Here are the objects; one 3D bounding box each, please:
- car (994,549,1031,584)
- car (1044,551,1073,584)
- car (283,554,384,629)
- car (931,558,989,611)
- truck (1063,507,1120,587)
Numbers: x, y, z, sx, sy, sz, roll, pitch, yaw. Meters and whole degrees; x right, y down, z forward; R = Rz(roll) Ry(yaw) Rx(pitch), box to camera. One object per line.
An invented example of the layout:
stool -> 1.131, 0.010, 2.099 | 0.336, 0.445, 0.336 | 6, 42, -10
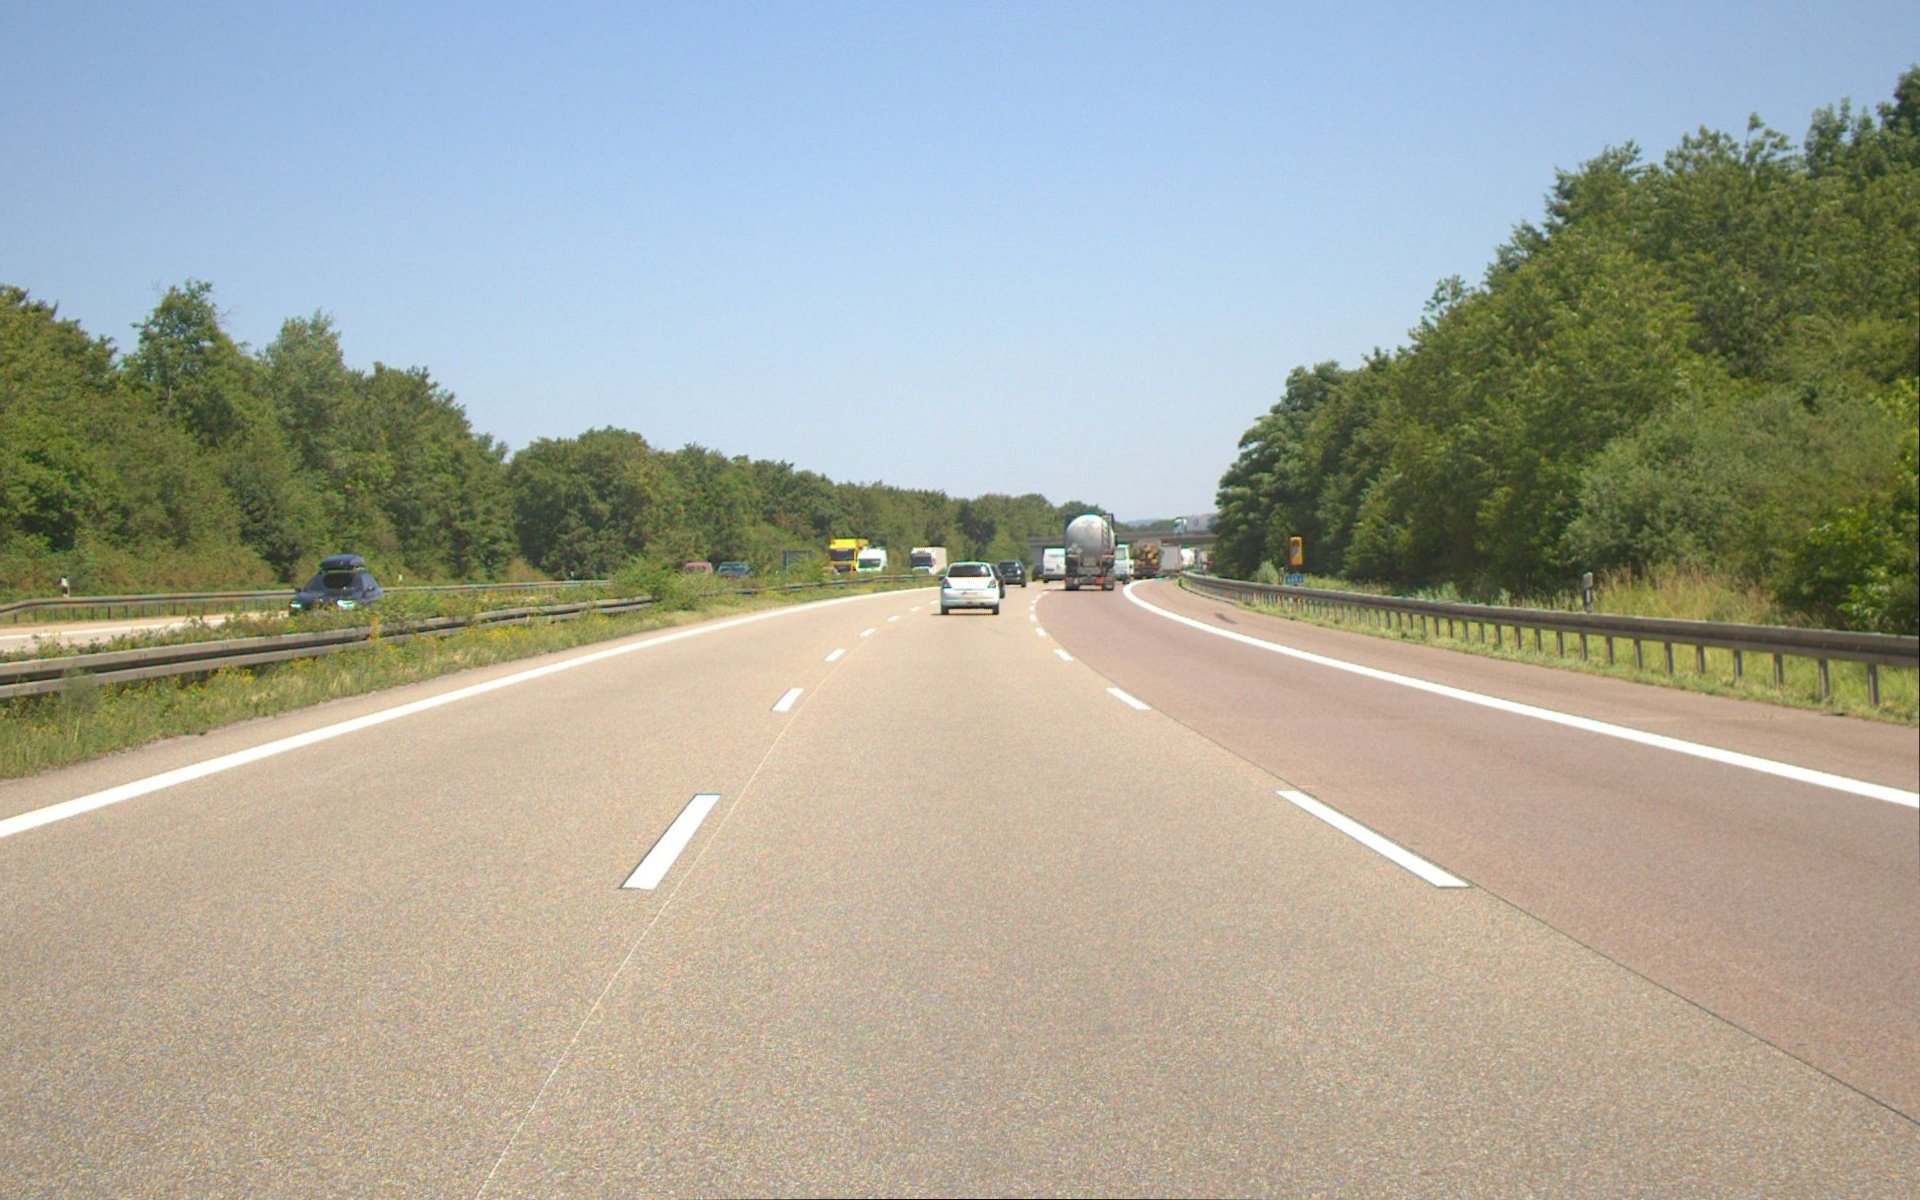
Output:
car -> 3.103, -1.982, 201.968 | 1.994, 2.007, 4.000 | -1, 1, 3
car -> 7.173, -2.380, 250.436 | 1.994, 2.335, 4.386 | 0, 1, 3
car -> -16.459, -0.236, 90.559 | 1.826, 1.899, 4.957 | 0, 1, -1
car -> -0.014, -0.442, 99.634 | 1.627, 1.474, 4.000 | -1, 0, 0
truck -> 6.905, -2.712, 180.015 | 2.739, 4.038, 10.453 | -1, 0, 3
